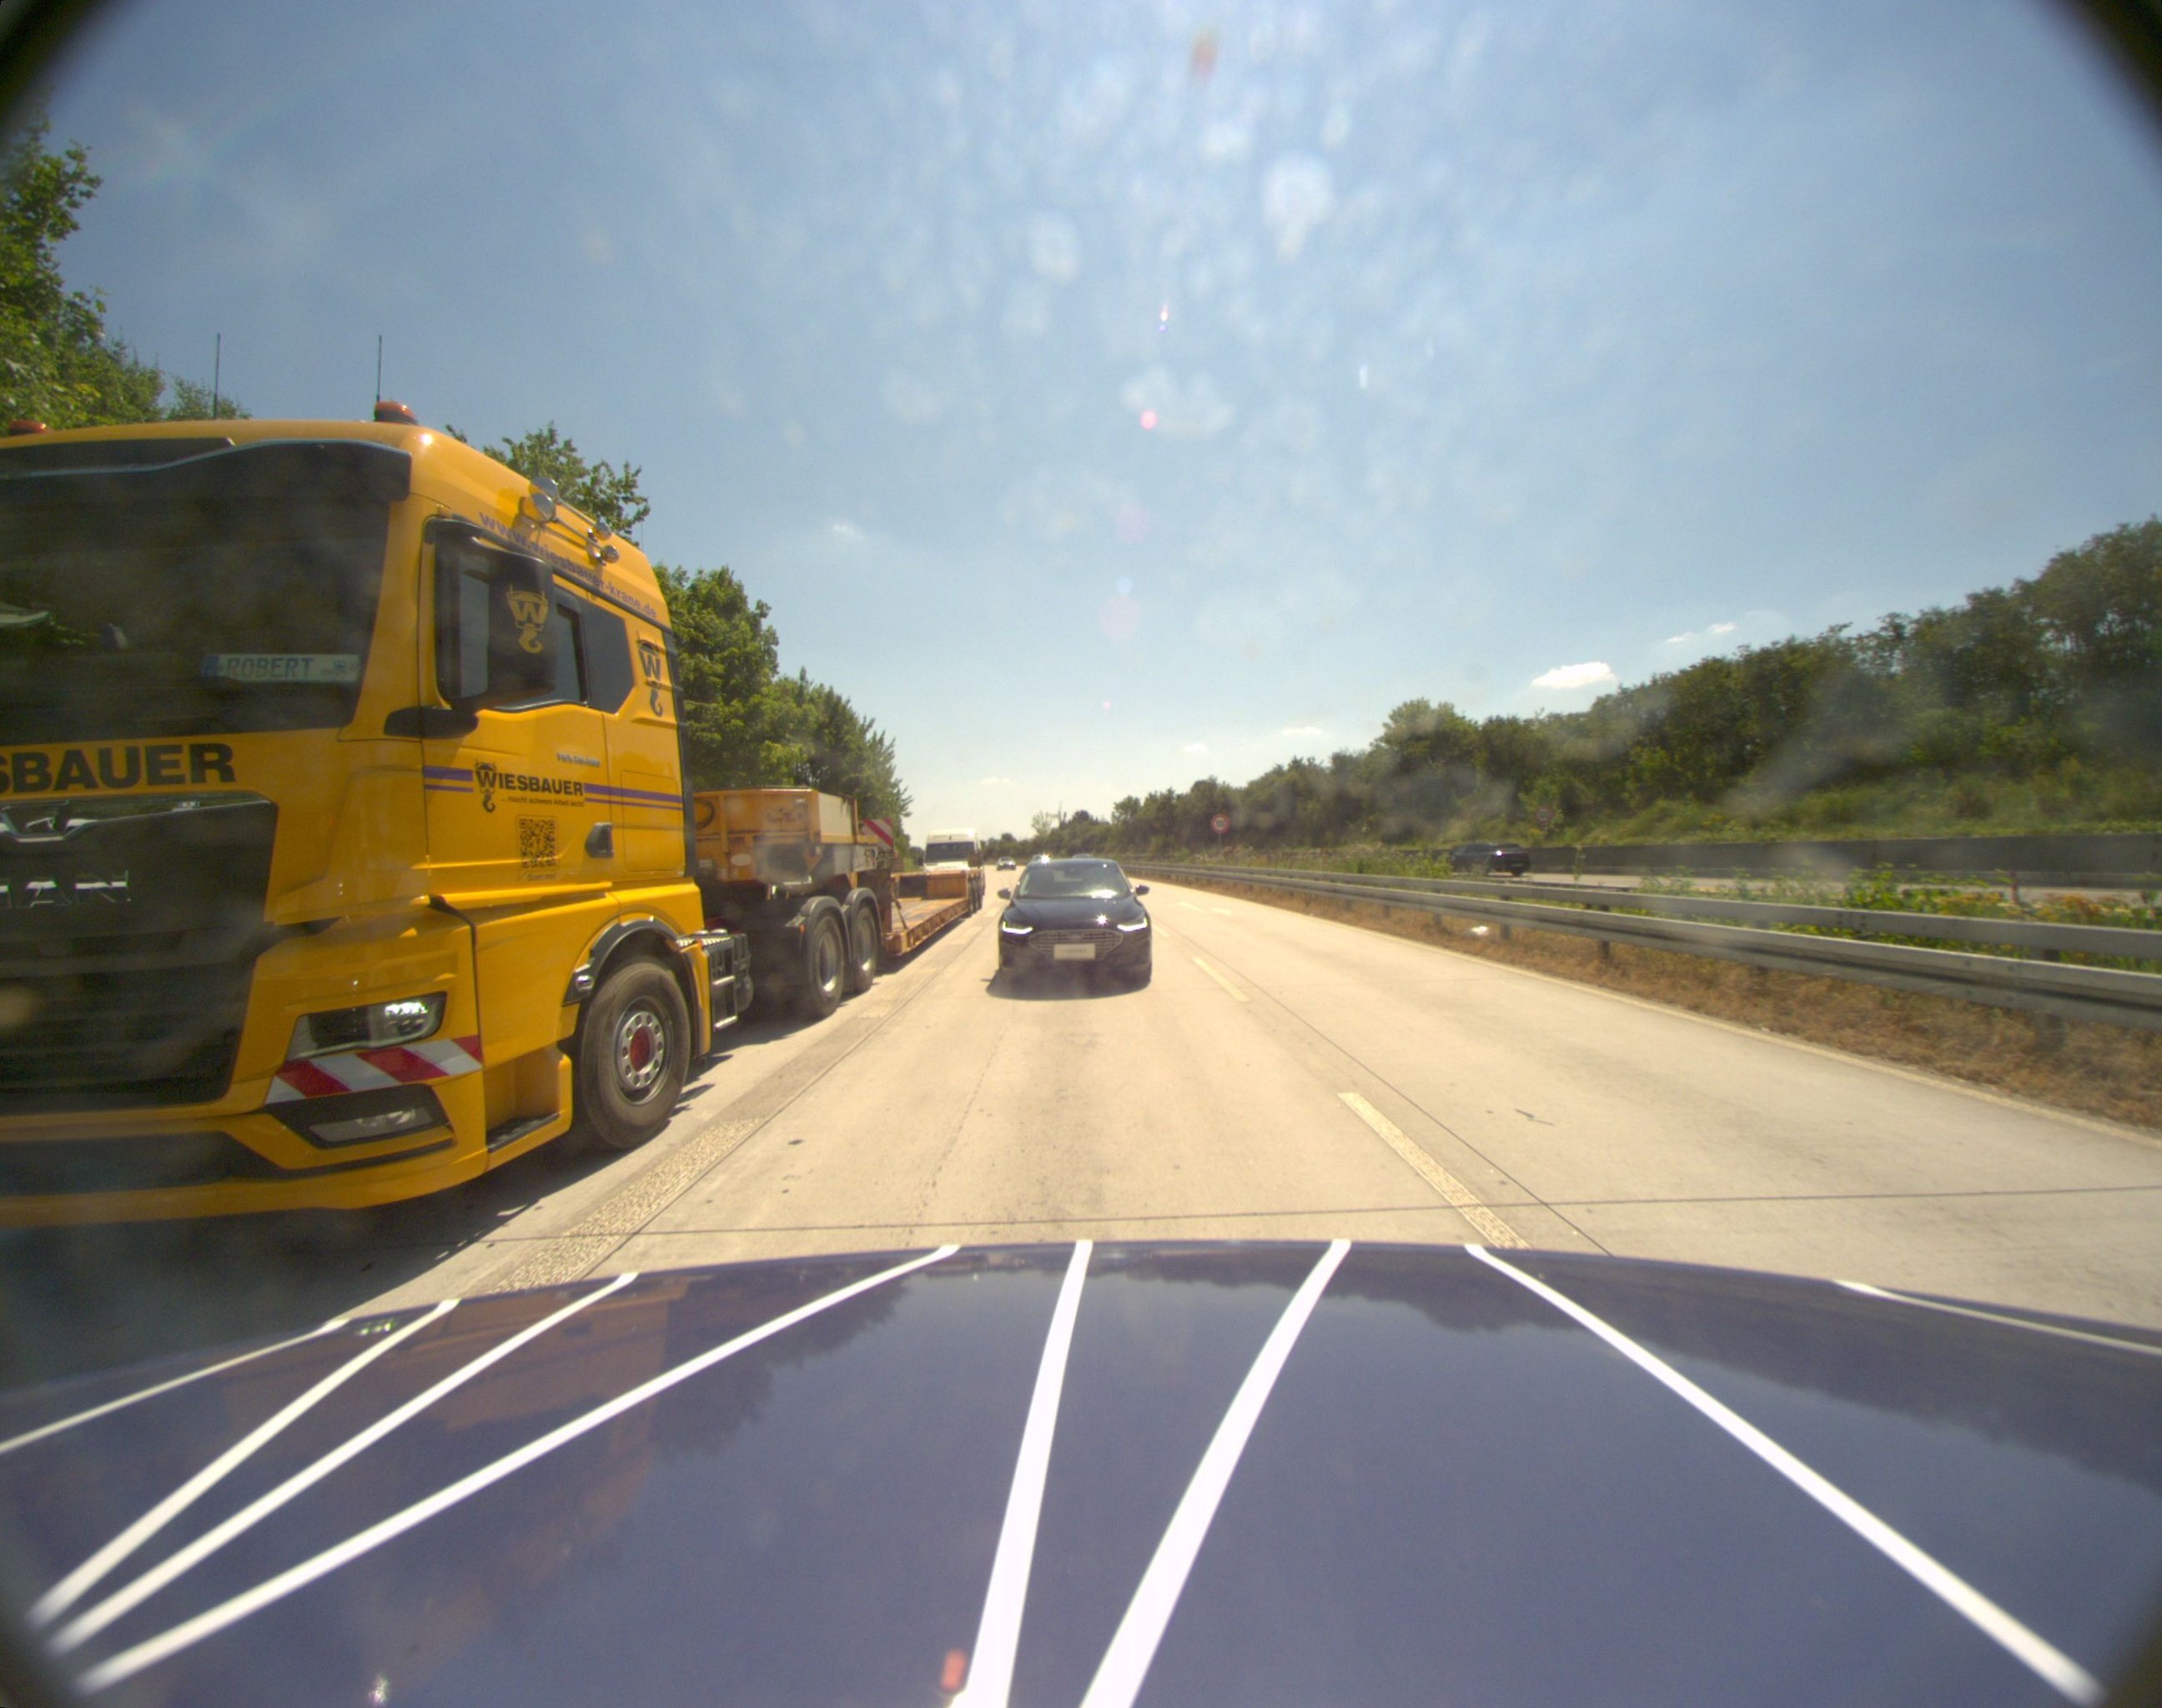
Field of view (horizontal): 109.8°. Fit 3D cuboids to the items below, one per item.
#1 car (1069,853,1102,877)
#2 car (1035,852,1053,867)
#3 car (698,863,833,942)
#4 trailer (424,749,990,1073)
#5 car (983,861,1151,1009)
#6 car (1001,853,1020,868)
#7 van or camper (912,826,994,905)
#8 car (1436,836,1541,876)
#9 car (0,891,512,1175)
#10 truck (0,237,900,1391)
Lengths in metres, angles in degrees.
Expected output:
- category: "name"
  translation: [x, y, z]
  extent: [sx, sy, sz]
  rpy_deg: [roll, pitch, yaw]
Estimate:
- category: "car"
  translation: [0.273, 0.691, 50.535]
  extent: [1.628, 1.476, 3.997]
  rpy_deg: [-2, 1, -7]
- category: "car"
  translation: [-4.082, 0.590, 82.941]
  extent: [1.707, 1.456, 3.997]
  rpy_deg: [-2, 1, -5]
- category: "car"
  translation: [-7.672, 1.098, 18.962]
  extent: [1.773, 1.552, 4.365]
  rpy_deg: [-2, 1, -5]
- category: "trailer"
  translation: [-4.075, 0.427, 14.517]
  extent: [3.035, 2.578, 16.352]
  rpy_deg: [-2, 0, -2]
- category: "car"
  translation: [-0.156, 0.881, 10.230]
  extent: [1.731, 1.430, 4.303]
  rpy_deg: [-2, 0, 0]
- category: "car"
  translation: [-7.569, 0.692, 81.696]
  extent: [1.891, 1.456, 3.998]
  rpy_deg: [-2, 1, -3]
- category: "van or camper"
  translation: [-4.597, 0.344, 28.234]
  extent: [2.068, 2.559, 5.906]
  rpy_deg: [-2, 1, -1]
- category: "car"
  translation: [16.732, 0.044, 31.446]
  extent: [1.716, 1.476, 4.291]
  rpy_deg: [-2, 1, -6]
- category: "car"
  translation: [-7.537, 1.225, 6.708]
  extent: [1.772, 1.454, 4.363]
  rpy_deg: [-2, 1, -2]
- category: "truck"
  translation: [-3.877, -0.128, 6.213]
  extent: [3.021, 3.751, 7.467]
  rpy_deg: [-2, 1, -2]
